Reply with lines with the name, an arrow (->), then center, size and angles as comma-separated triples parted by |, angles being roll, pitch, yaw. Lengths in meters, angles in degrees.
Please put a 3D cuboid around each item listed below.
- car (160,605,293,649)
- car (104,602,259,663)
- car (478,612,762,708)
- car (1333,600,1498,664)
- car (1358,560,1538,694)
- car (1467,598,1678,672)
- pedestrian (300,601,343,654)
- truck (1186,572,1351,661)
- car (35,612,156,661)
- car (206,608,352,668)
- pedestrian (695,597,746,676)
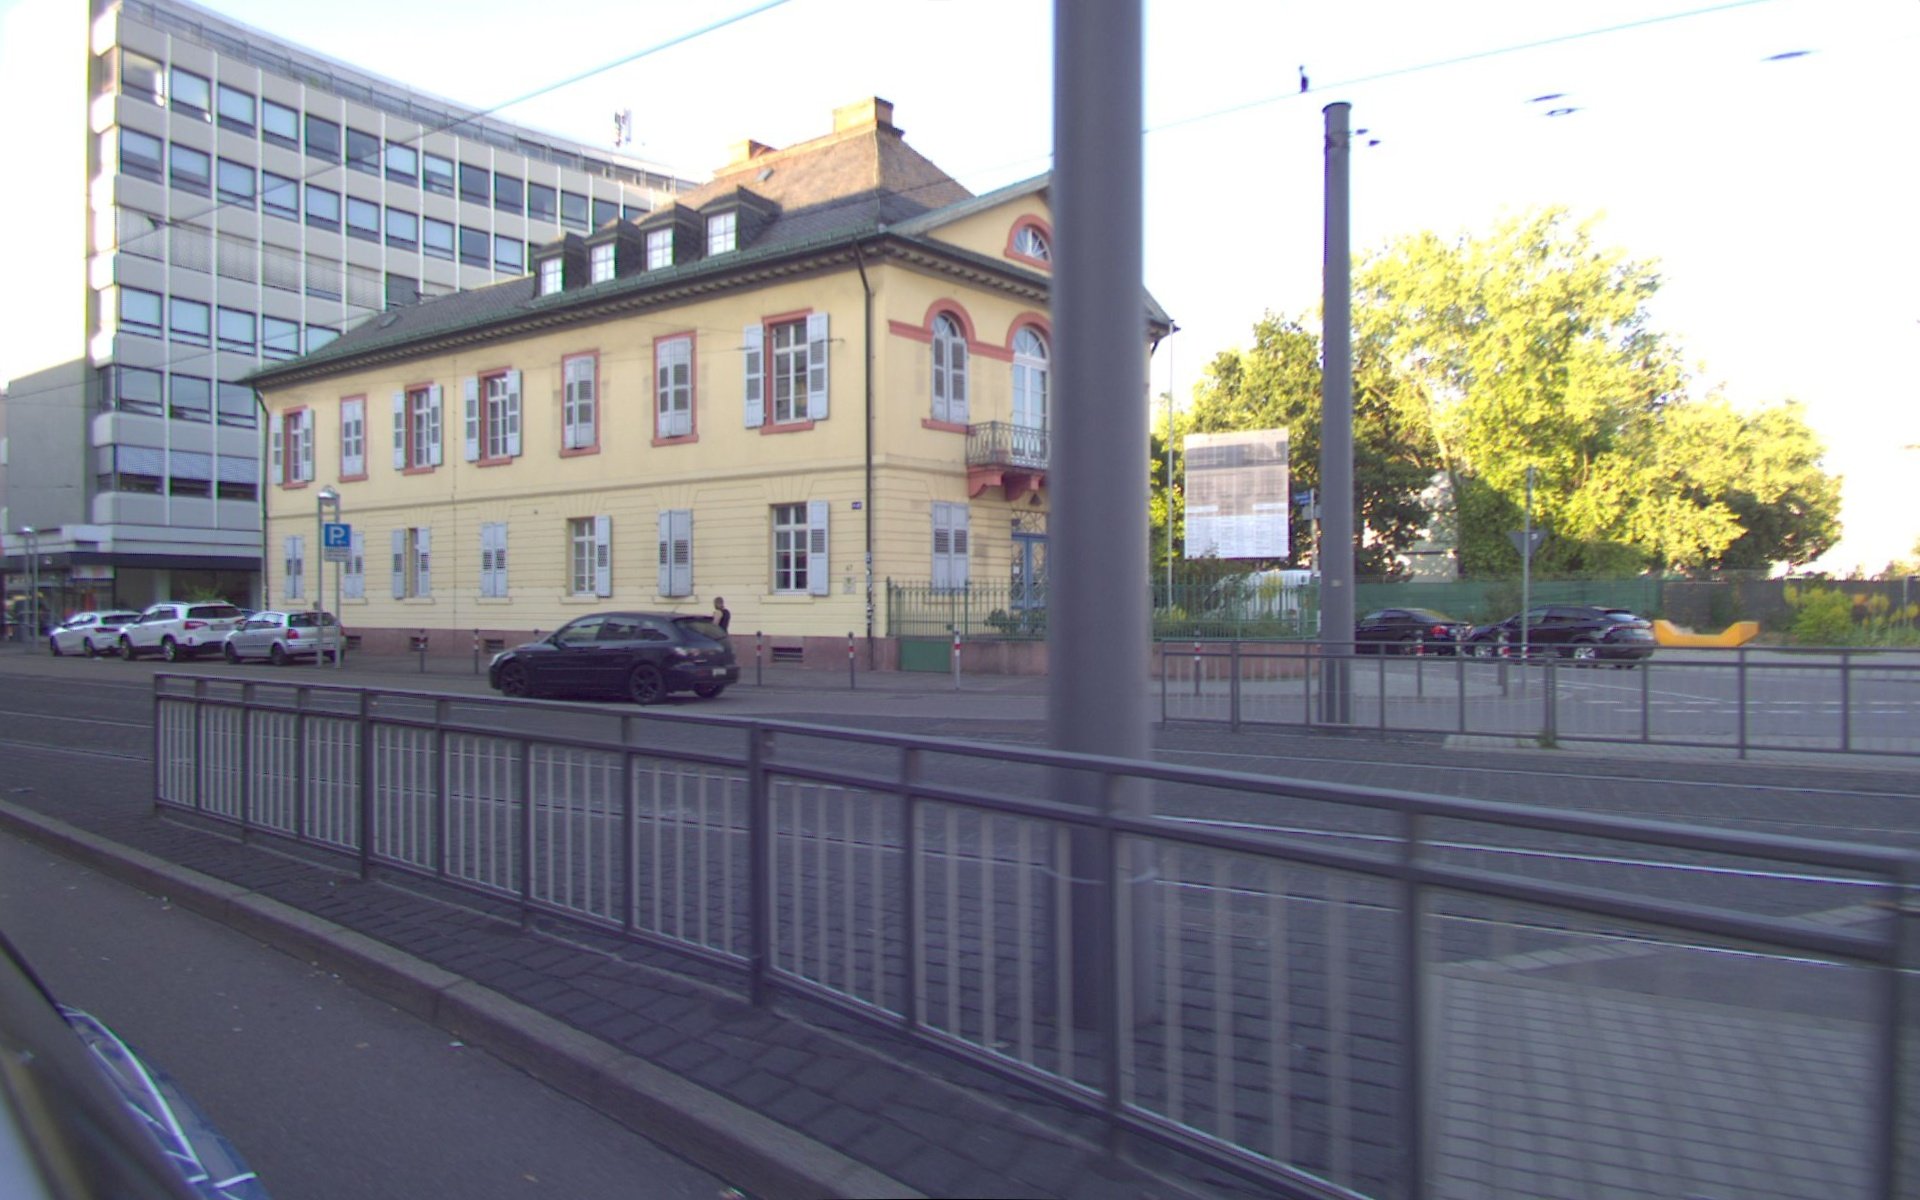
car -> -29.696, 1.039, 41.087 | 1.905, 1.564, 3.963 | 0, 1, 28
car -> -23.239, 0.927, 30.171 | 4.739, 1.673, 1.875 | -1, 1, 28
car -> -5.467, 0.890, 16.307 | 4.190, 1.386, 1.761 | 0, 0, 20
car -> 12.899, 0.845, 28.925 | 1.965, 1.588, 4.014 | -1, 1, -24
car -> 8.224, 0.426, 17.466 | 1.981, 2.029, 3.982 | 0, -1, 14
car -> 14.828, 0.769, 24.751 | 1.965, 1.558, 4.014 | -1, 1, -24
pedestrian -> -19.399, 0.819, 30.742 | 0.874, 1.553, 0.793 | 0, 1, 32
truck -> 10.166, 0.456, 33.891 | 2.158, 2.719, 5.485 | -1, 1, -25
car -> -28.604, 1.169, 33.470 | 4.266, 1.464, 1.709 | -1, 1, 30
car -> -18.590, 1.006, 27.603 | 3.984, 1.485, 1.736 | -1, 1, 30
pedestrian -> -4.798, 0.723, 20.287 | 0.715, 1.548, 0.715 | 0, -1, 26
